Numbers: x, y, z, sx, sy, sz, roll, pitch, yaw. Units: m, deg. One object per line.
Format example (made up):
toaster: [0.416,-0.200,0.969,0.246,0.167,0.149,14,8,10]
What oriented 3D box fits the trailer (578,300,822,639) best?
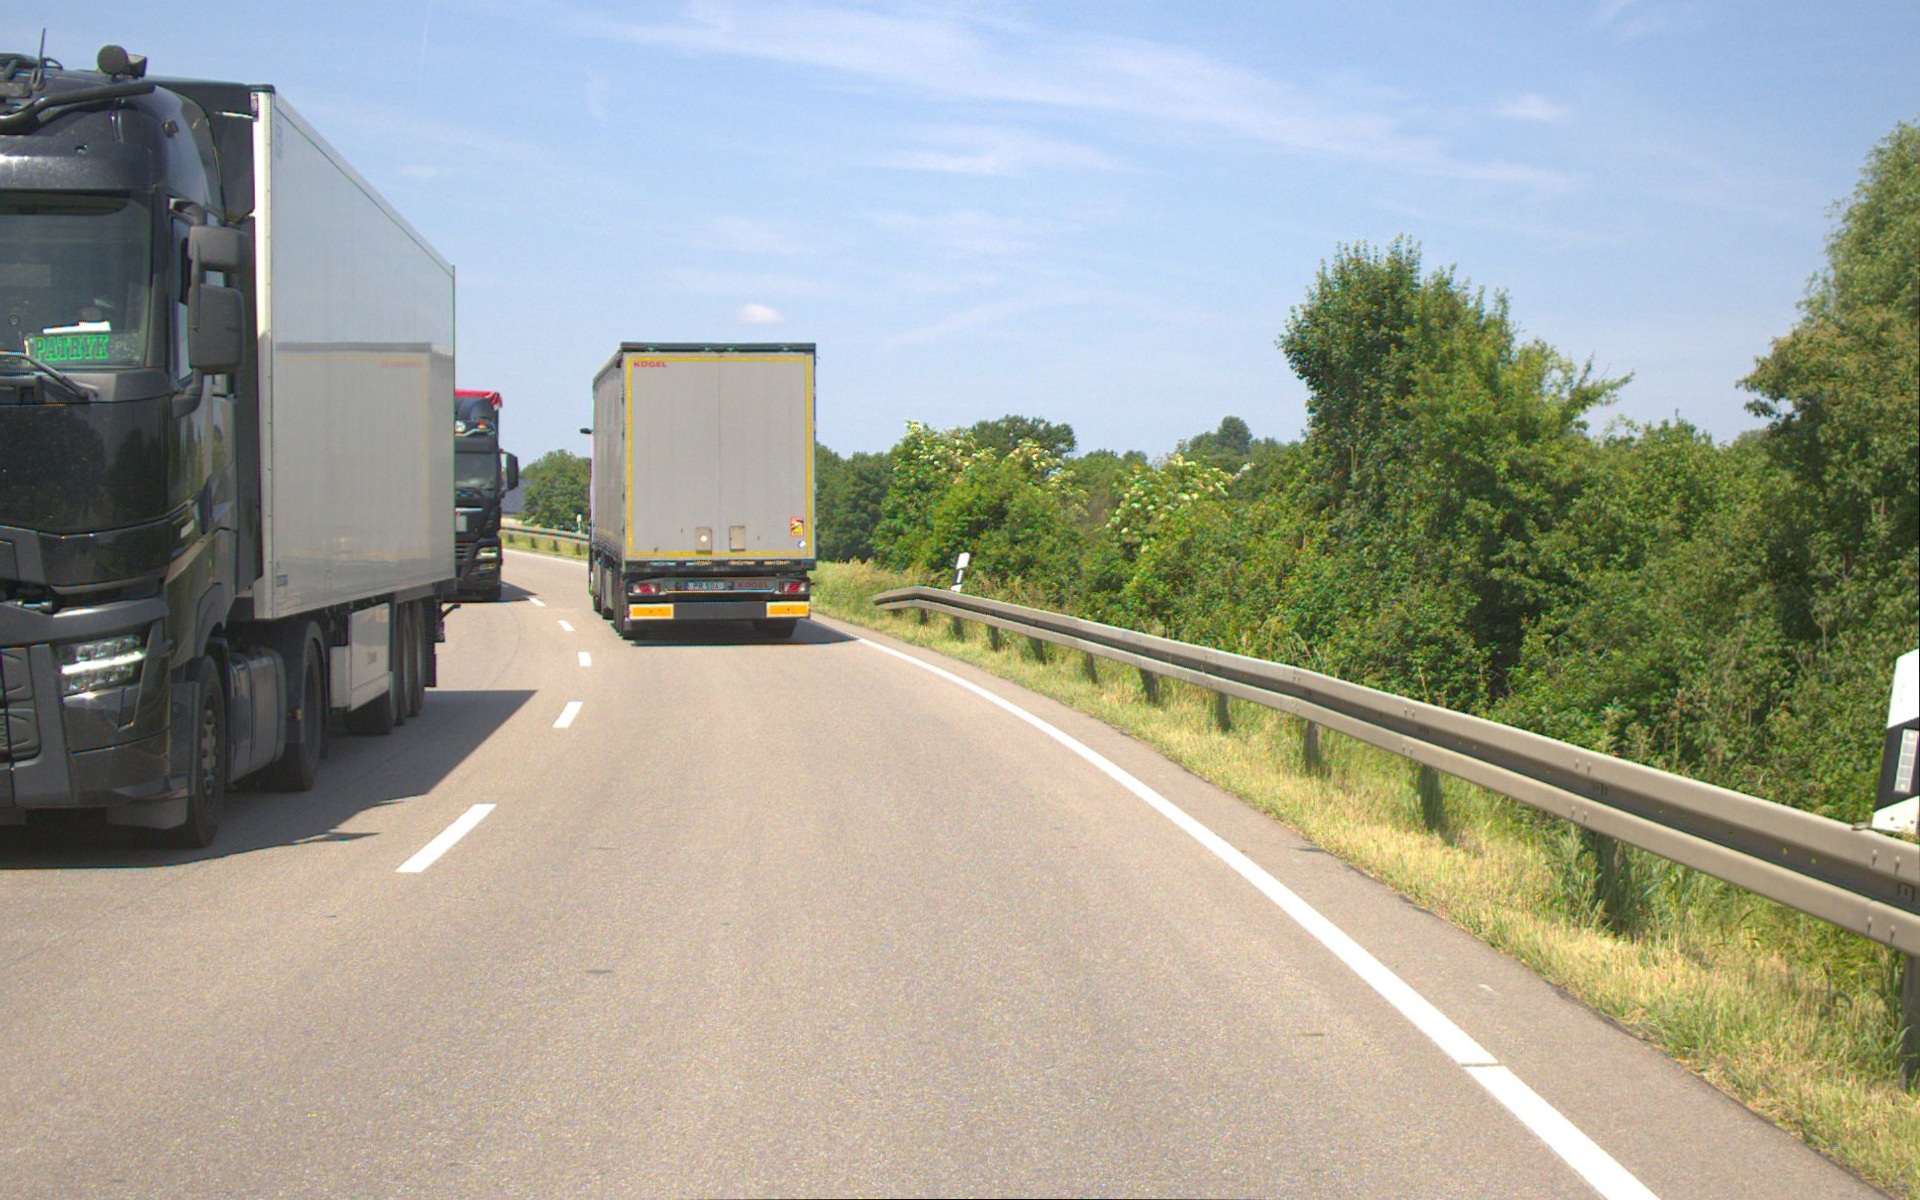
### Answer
trailer: [-4.113,-1.855,51.347,2.866,4.385,13.496,0,1,-8]

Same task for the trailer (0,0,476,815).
trailer: [-5.800,-1.172,25.286,3.373,4.385,13.748,0,1,-4]

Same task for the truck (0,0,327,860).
truck: [-5.360,-1.055,18.028,3.373,4.386,5.447,0,1,-4]

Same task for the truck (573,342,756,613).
truck: [-5.084,-2.051,58.434,2.859,4.385,5.072,0,1,-8]

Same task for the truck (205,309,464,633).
truck: [-8.583,-1.750,47.905,3.240,4.135,6.654,1,1,-8]
